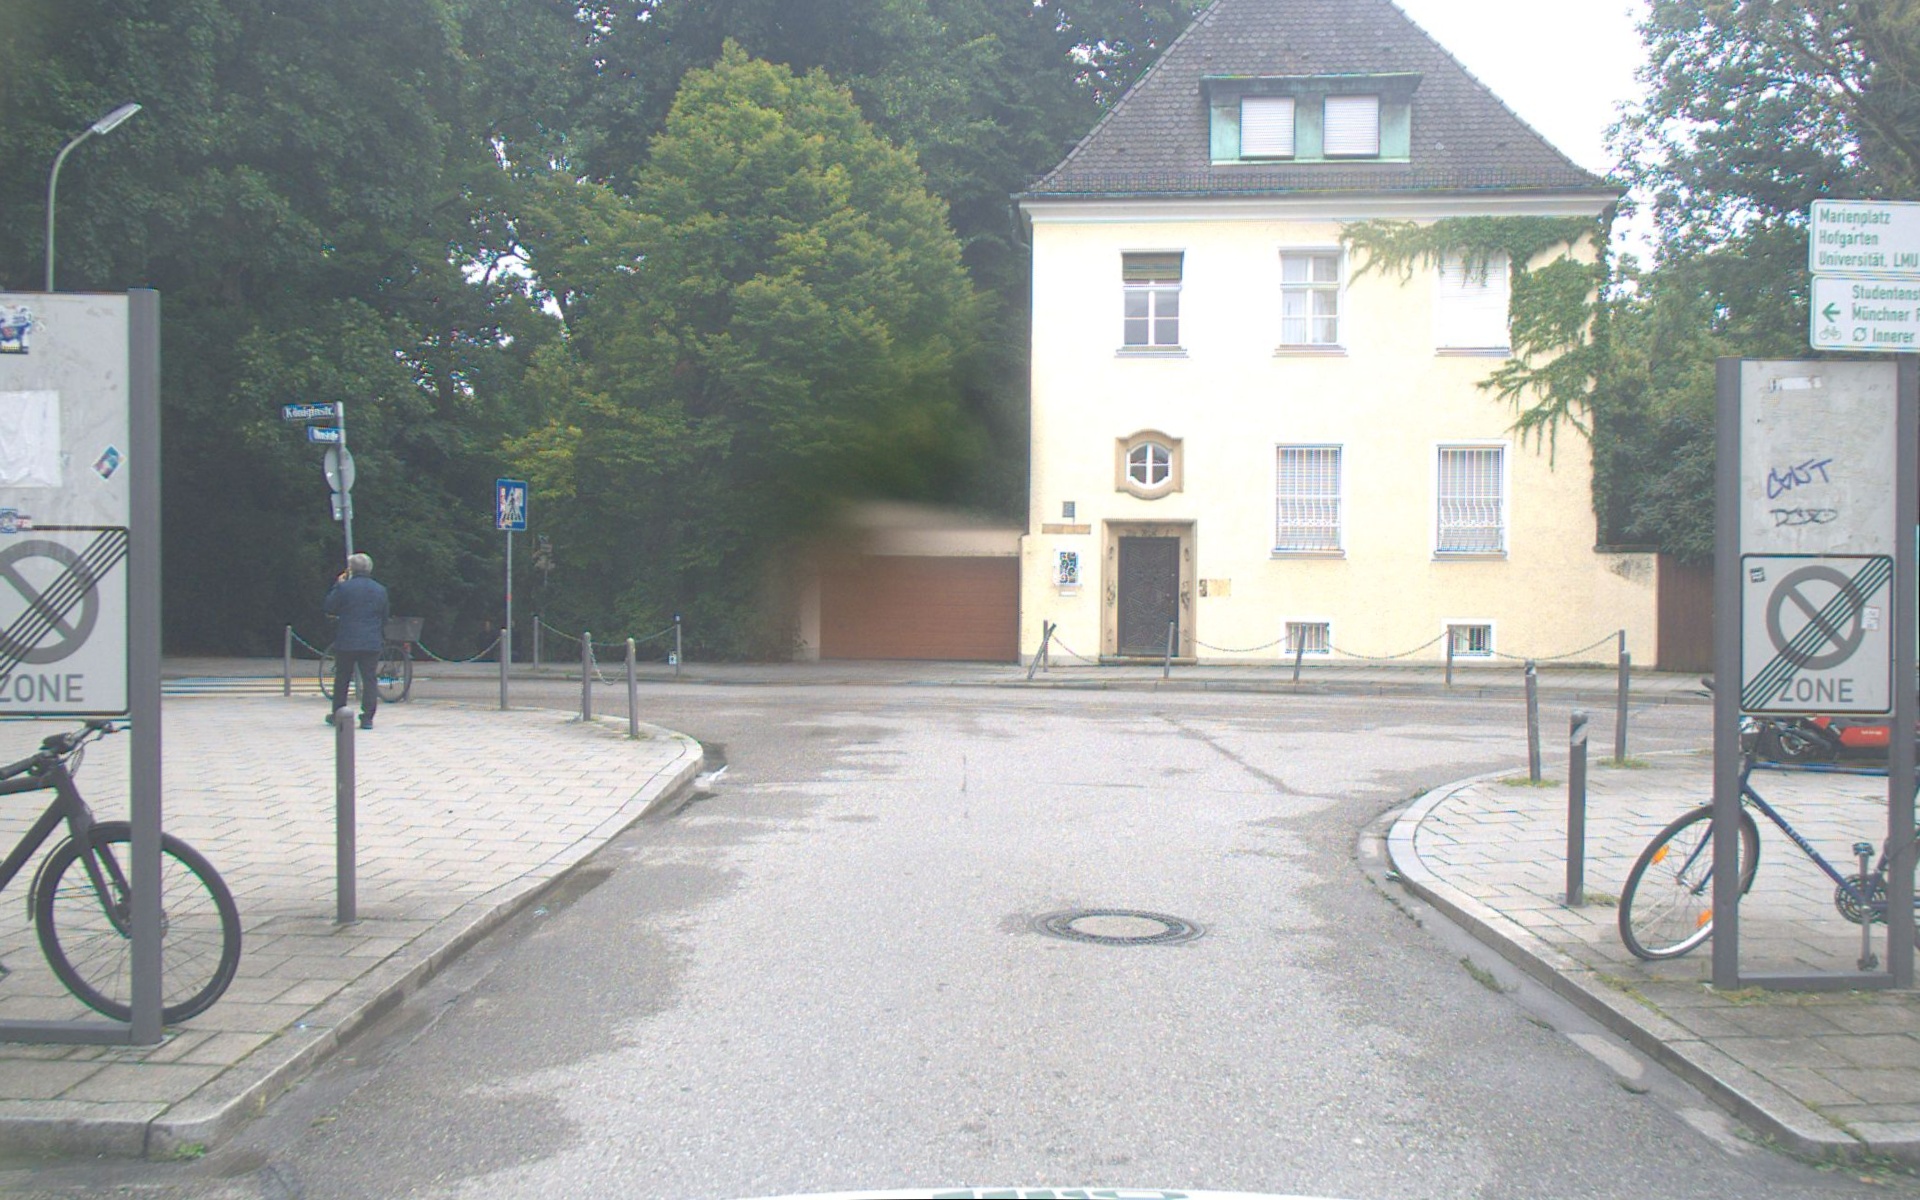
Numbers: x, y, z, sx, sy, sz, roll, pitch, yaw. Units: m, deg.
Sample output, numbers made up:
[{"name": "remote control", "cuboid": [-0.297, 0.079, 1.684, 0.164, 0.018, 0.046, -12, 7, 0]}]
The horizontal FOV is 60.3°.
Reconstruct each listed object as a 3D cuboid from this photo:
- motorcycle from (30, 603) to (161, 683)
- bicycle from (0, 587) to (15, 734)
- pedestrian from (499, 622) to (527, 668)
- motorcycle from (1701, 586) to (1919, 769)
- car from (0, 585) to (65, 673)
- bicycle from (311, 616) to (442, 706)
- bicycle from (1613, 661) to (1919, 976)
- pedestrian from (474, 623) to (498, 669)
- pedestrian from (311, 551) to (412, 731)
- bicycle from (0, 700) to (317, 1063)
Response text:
[{"name": "motorcycle", "cuboid": [-14.333, 0.697, 27.422, 1.959, 1.204, 0.859, 1, 4, 24]}, {"name": "bicycle", "cuboid": [-9.084, 0.518, 15.124, 0.728, 1.278, 1.906, 1, 0, -31]}, {"name": "pedestrian", "cuboid": [-11.727, 1.186, 43.403, 0.573, 1.189, 0.497, 1, 0, 5]}, {"name": "motorcycle", "cuboid": [7.032, 0.596, 13.282, 2.050, 1.379, 0.811, 1, 0, -24]}, {"name": "car", "cuboid": [-18.018, 0.511, 28.386, 4.335, 1.474, 1.623, -1, 0, -6]}, {"name": "bicycle", "cuboid": [-7.248, 0.729, 20.514, 1.968, 1.028, 0.510, 1, 0, 37]}, {"name": "bicycle", "cuboid": [3.521, 0.821, 6.451, 1.756, 1.104, 0.665, 0, 1, 27]}, {"name": "pedestrian", "cuboid": [-12.437, 1.207, 43.407, 0.461, 1.176, 0.497, 1, 0, 5]}, {"name": "pedestrian", "cuboid": [-5.731, 0.379, 15.829, 0.801, 1.670, 0.720, 1, 0, -28]}, {"name": "bicycle", "cuboid": [-3.048, 0.855, 5.246, 1.766, 1.032, 0.540, 2, 0, -2]}]
